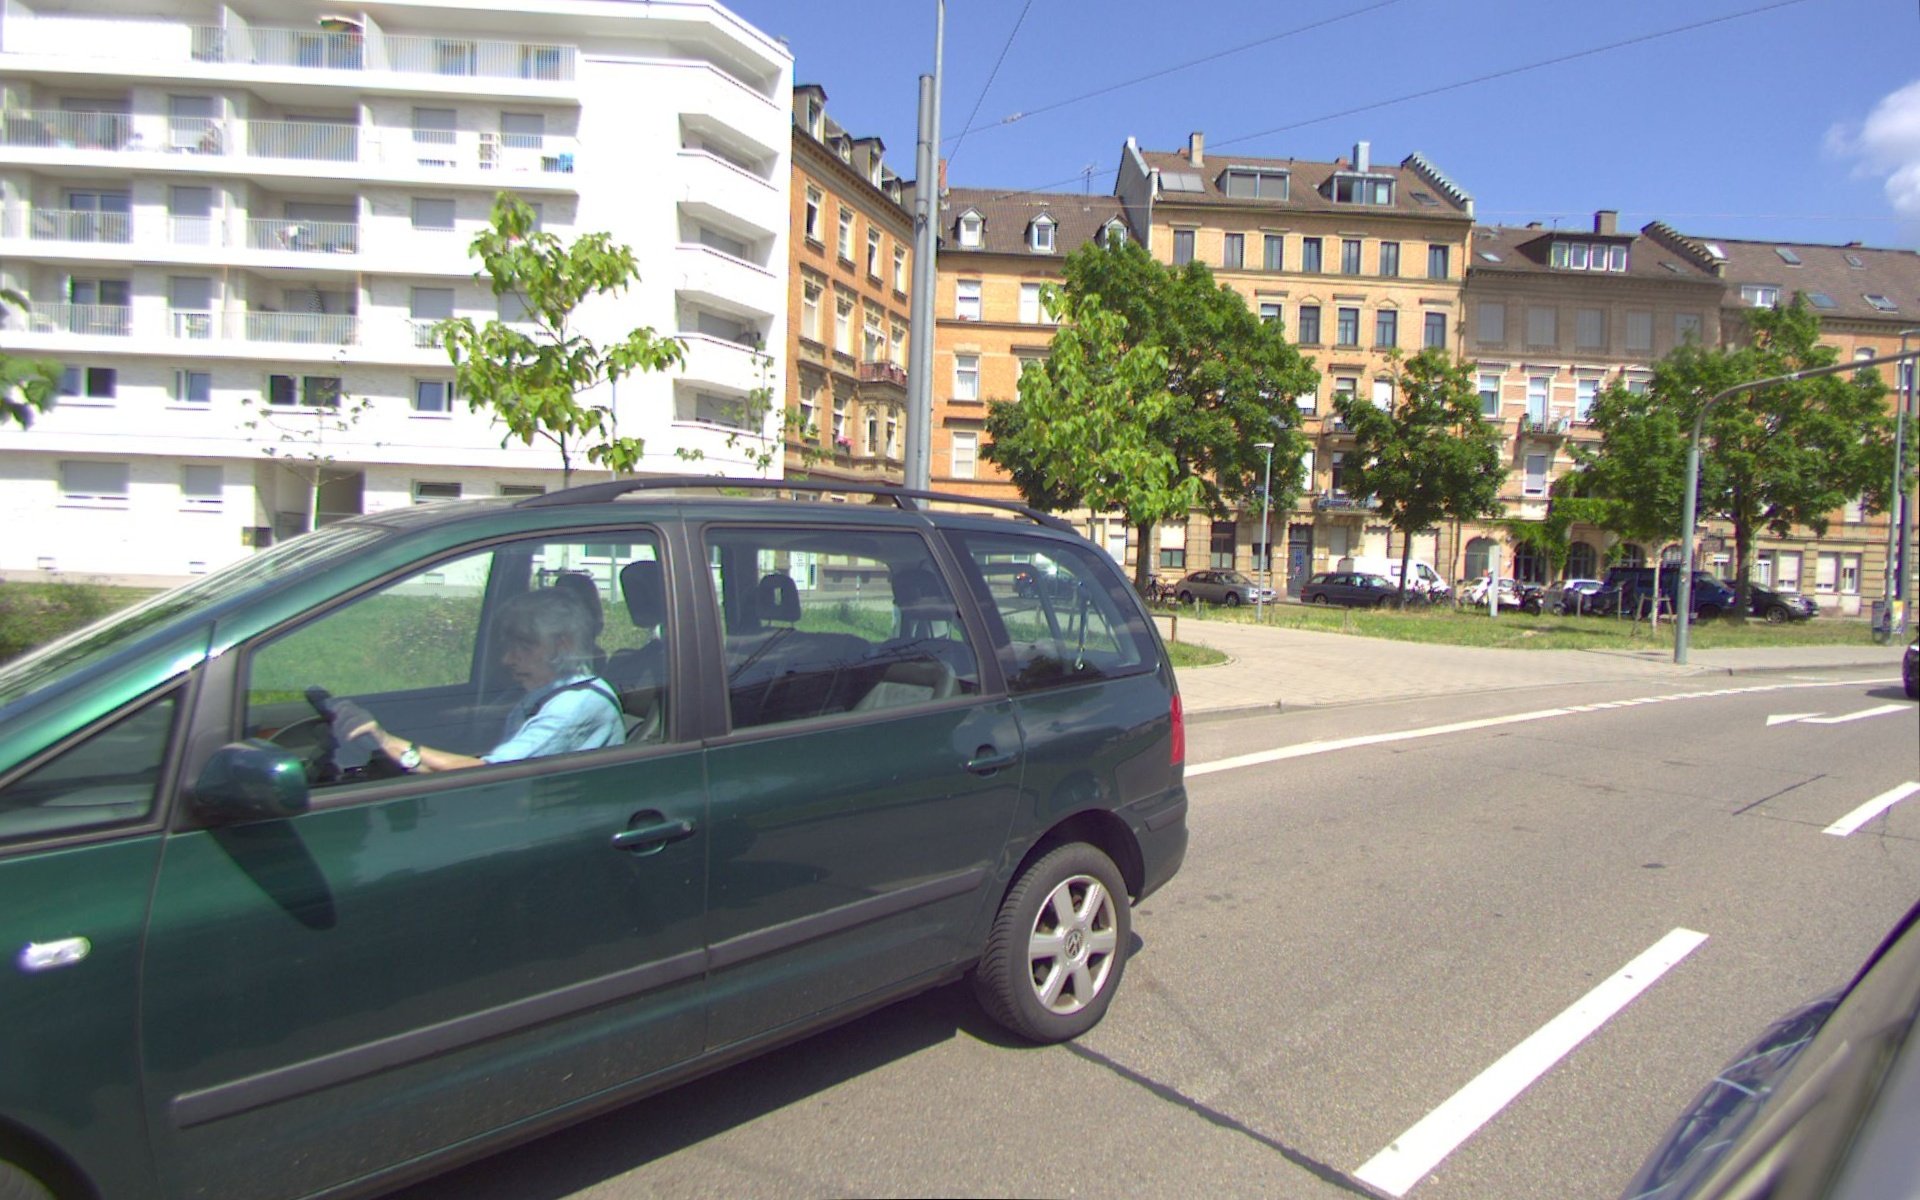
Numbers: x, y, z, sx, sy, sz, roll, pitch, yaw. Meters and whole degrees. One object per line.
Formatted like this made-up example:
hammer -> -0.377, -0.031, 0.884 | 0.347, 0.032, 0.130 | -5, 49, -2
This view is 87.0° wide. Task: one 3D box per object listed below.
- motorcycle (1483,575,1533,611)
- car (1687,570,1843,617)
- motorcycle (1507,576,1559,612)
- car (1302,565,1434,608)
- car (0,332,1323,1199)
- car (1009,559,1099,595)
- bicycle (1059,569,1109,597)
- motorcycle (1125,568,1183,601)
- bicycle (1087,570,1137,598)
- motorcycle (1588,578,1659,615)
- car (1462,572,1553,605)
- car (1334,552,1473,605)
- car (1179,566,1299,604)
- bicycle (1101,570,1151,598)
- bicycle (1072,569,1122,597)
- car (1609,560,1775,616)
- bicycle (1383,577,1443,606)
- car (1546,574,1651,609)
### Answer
motorcycle -> 18.875, -0.251, 34.896 | 0.627, 1.181, 1.791 | 1, 2, -4
car -> 30.190, -0.269, 38.094 | 1.878, 1.677, 4.180 | 1, 1, -29
motorcycle -> 19.756, -0.236, 34.941 | 0.627, 1.181, 1.791 | 1, 2, -4
car -> 14.997, -0.530, 37.402 | 1.770, 1.445, 4.264 | 1, 2, -32
car -> -0.921, 0.461, 3.259 | 4.945, 1.778, 1.821 | 0, 1, -42
car -> 4.154, -1.020, 45.156 | 3.778, 1.510, 1.665 | 1, 1, -2
bicycle -> 4.440, -0.622, 36.408 | 0.532, 0.981, 2.396 | 1, 1, -26
motorcycle -> 7.130, -0.580, 37.261 | 0.796, 1.139, 2.396 | 1, 1, -26
bicycle -> 5.508, -0.609, 36.935 | 0.532, 0.981, 2.396 | 1, 1, -26
motorcycle -> 22.478, -0.133, 34.326 | 1.876, 1.181, 0.638 | 2, 1, 10
car -> 25.035, -0.543, 46.345 | 3.287, 1.420, 1.569 | 2, 2, 0
car -> 20.088, -0.969, 45.995 | 5.289, 2.206, 2.119 | 1, 1, -2
car -> 9.946, -0.562, 36.342 | 1.825, 1.260, 4.172 | 1, 1, -26
bicycle -> 6.074, -0.595, 37.205 | 0.532, 0.968, 2.396 | 1, 1, -26
bicycle -> 4.939, -0.616, 36.664 | 0.532, 0.981, 2.396 | 1, 1, -26
car -> 27.304, -0.463, 37.907 | 1.879, 1.951, 4.633 | 1, 1, -33
bicycle -> 15.219, -0.281, 34.020 | 1.784, 0.912, 0.544 | 1, 0, -6
car -> 29.391, -0.405, 46.629 | 3.778, 1.510, 1.665 | 1, 1, -2
